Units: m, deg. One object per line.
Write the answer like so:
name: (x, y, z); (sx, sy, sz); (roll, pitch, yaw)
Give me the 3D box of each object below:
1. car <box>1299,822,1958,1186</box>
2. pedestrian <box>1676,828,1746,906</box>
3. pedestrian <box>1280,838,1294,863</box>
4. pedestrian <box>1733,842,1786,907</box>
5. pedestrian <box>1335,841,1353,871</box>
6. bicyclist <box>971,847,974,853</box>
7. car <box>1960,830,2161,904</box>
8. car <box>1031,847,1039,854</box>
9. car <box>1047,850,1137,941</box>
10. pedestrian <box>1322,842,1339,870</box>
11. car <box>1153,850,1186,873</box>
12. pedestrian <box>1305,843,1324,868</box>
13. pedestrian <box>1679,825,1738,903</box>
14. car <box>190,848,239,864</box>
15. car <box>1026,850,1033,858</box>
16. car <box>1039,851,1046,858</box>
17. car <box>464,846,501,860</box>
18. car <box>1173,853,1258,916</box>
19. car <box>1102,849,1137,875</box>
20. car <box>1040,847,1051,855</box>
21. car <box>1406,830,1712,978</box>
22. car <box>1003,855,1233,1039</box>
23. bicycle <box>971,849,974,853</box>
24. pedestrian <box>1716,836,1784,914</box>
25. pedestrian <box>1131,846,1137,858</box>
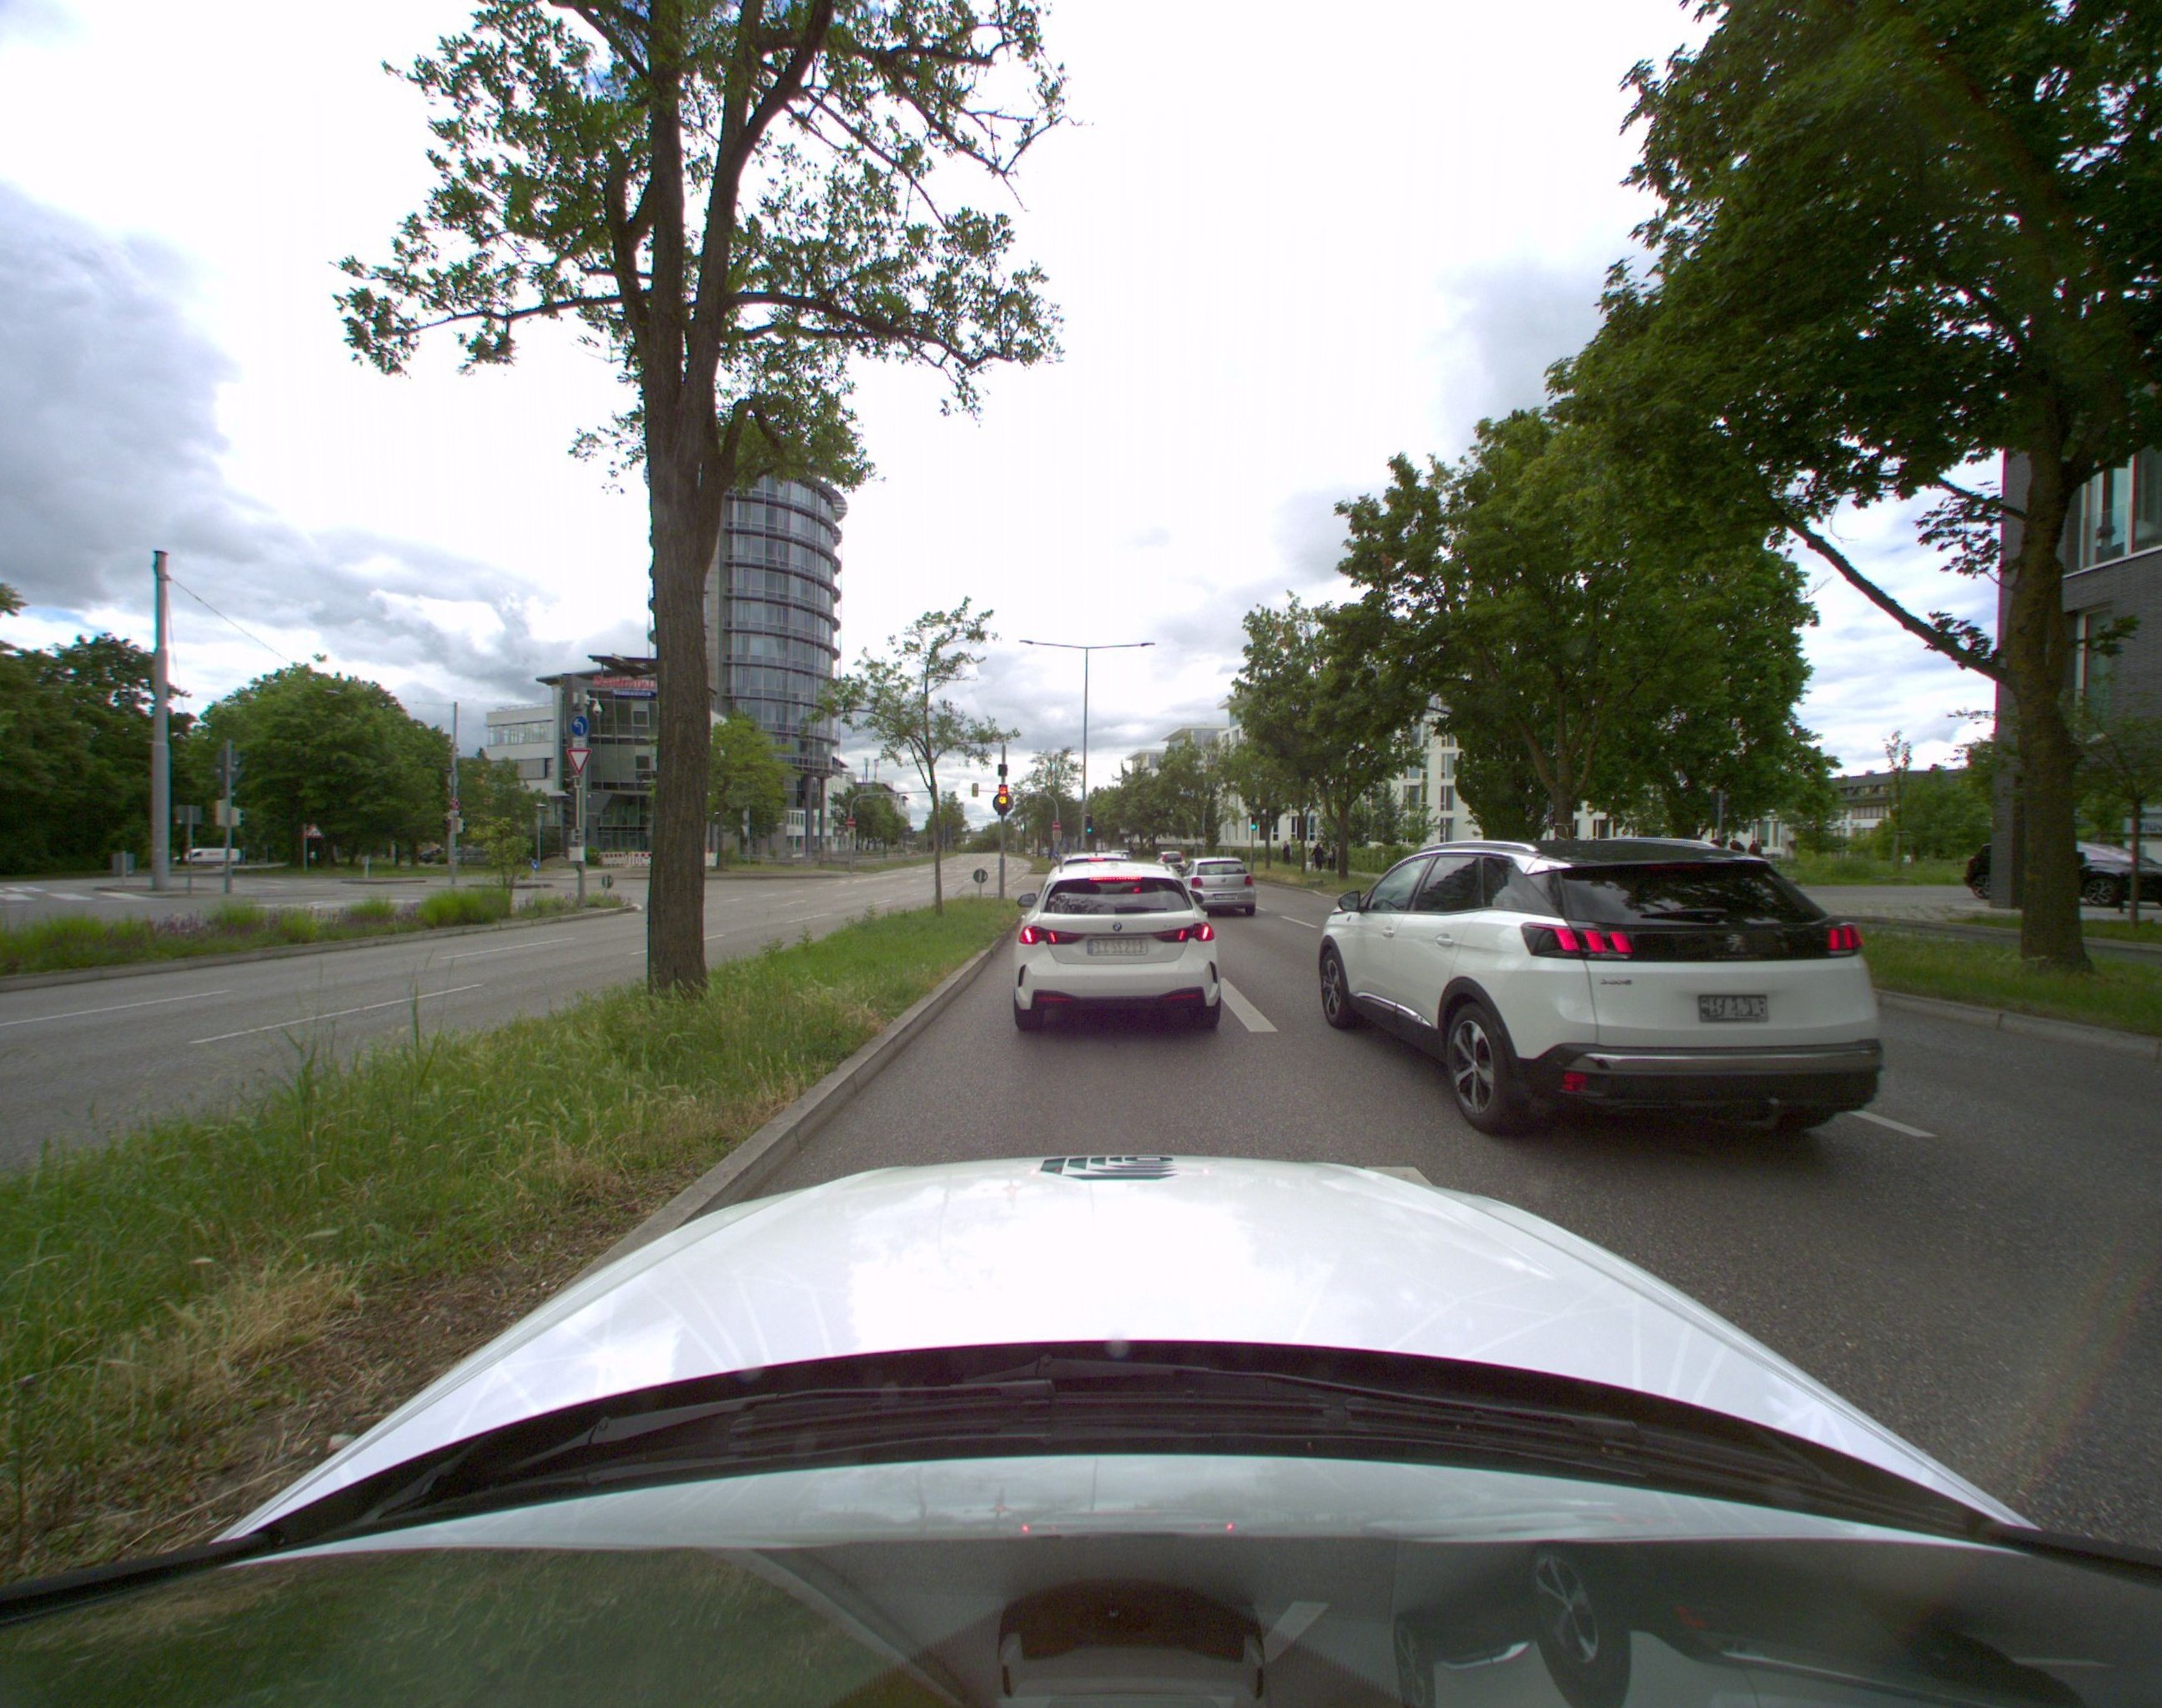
car: (3.028, 0.670, 5.807); (1.848, 1.596, 4.314); (-1, 0, 1)
pedestrian: (13.881, 0.277, 17.977); (0.791, 1.660, 1.061); (0, 0, 7)
pedestrian: (13.052, -0.220, 51.661); (0.739, 1.574, 0.674); (0, -1, 0)
pedestrian: (16.719, 0.481, 20.072); (0.880, 1.557, 0.825); (0, 0, -38)
pedestrian: (14.915, 0.098, 46.190); (0.764, 1.685, 0.883); (0, -1, 1)
bicyclist: (-30.792, -1.202, 230.517); (0.810, 1.653, 1.185); (0, -1, -8)
car: (24.899, 0.295, 20.228); (1.749, 1.646, 4.151); (0, 0, 2)
car: (-12.404, -0.852, 218.452); (1.992, 1.732, 3.990); (0, -1, -7)
car: (0.250, 0.709, 15.977); (1.544, 1.569, 4.002); (0, 0, 2)
pedestrian: (14.151, 0.104, 46.208); (0.697, 1.595, 0.883); (0, -1, 1)
car: (5.702, 0.462, 52.822); (1.649, 1.425, 3.532); (-1, 0, -2)
pedestrian: (13.326, 0.089, 46.478); (0.786, 1.448, 1.112); (0, -1, 1)
pedestrian: (15.560, 0.228, 20.189); (0.983, 1.868, 0.952); (0, 0, -38)
car: (-128.879, 0.256, 121.172); (1.978, 2.339, 4.570); (-1, -1, 16)
car: (-12.299, 0.017, 193.632); (1.692, 1.717, 3.993); (0, -1, -4)
car: (-9.194, 0.096, 194.150); (1.690, 1.486, 3.686); (0, 0, -5)
car: (-37.360, -0.063, 50.875); (0.766, 0.876, 1.730); (0, 0, 38)
car: (3.370, 0.719, 21.005); (1.600, 1.468, 3.674); (0, 0, 0)
car: (2.440, 0.480, 52.923); (1.887, 1.596, 4.309); (0, 0, -3)
car: (-7.498, -0.613, 170.705); (1.992, 1.670, 3.990); (-2, 0, -7)
car: (5.710, 0.528, 10.384); (1.651, 1.512, 4.001); (0, -1, 2)
car: (0.358, 0.736, 8.450); (1.815, 1.438, 4.002); (0, 0, 2)
bicycle: (-30.778, -0.848, 230.422); (0.810, 1.104, 2.549); (0, -1, -8)
pedestrian: (14.645, 0.455, 17.847); (0.774, 1.660, 0.954); (0, 0, 7)
pedestrian: (8.955, -0.359, 137.493); (0.763, 2.014, 0.751); (0, -1, -13)
